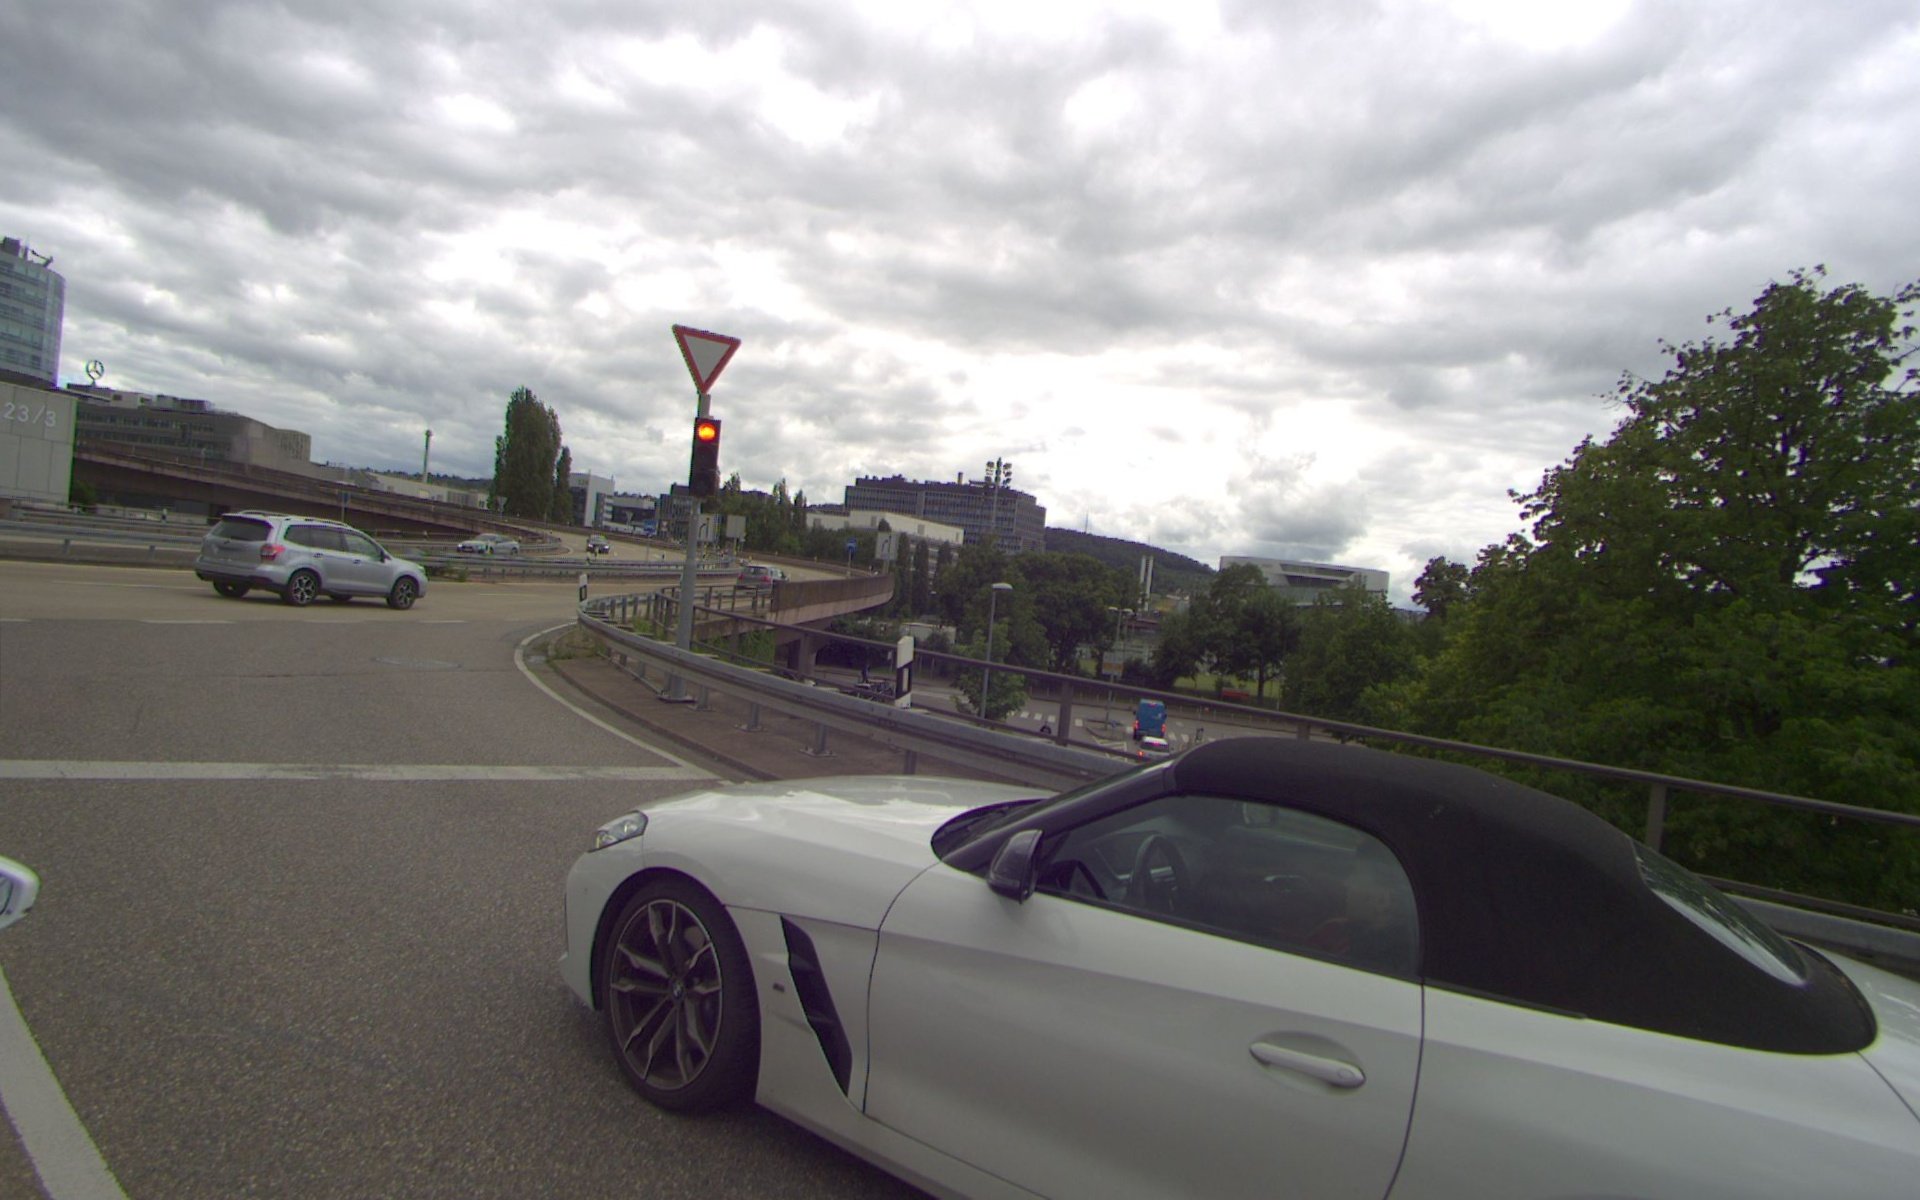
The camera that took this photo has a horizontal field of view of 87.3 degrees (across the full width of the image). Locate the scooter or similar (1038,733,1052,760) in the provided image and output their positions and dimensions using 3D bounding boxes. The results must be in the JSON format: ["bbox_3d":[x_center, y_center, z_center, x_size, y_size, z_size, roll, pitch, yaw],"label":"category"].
[{"bbox_3d":[4.446,7.653,52.492,0.481,1.199,1.073,8,1,10],"label":"scooter or similar"}]

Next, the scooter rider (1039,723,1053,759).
[{"bbox_3d":[4.488,7.363,52.468,0.481,1.761,0.514,8,2,10],"label":"scooter rider"}]

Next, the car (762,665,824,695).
[{"bbox_3d":[-11.463,5.491,69.132,3.792,1.371,1.826,8,1,1],"label":"car"}]

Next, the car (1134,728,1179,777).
[{"bbox_3d":[10.502,8.050,53.611,1.978,1.883,4.868,10,-2,12],"label":"car"}]

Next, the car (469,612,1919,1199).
[{"bbox_3d":[0.631,0.989,3.012,4.194,1.306,1.808,7,-2,34],"label":"car"}]

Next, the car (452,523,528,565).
[{"bbox_3d":[-28.940,-3.390,62.132,1.879,1.679,4.757,8,-4,7],"label":"car"}]

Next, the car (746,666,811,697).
[{"bbox_3d":[-11.967,5.388,66.350,3.792,1.371,1.826,8,1,1],"label":"car"}]

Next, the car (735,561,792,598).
[{"bbox_3d":[-9.184,-0.924,47.327,1.698,1.480,4.242,7,0,0],"label":"car"}]

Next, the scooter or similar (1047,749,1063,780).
[{"bbox_3d":[4.341,7.513,45.889,0.481,1.199,1.073,8,1,10],"label":"scooter or similar"}]

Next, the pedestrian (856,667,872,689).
[{"bbox_3d":[-7.328,5.928,76.752,0.898,1.514,0.750,8,-3,8],"label":"pedestrian"}]

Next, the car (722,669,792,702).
[{"bbox_3d":[-12.456,5.270,61.893,3.792,1.371,1.826,8,1,1],"label":"car"}]

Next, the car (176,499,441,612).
[{"bbox_3d":[-13.048,-0.789,20.566,1.697,1.758,4.558,7,0,12],"label":"car"}]

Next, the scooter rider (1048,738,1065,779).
[{"bbox_3d":[4.390,7.223,45.859,0.481,1.776,0.548,8,2,10],"label":"scooter rider"}]

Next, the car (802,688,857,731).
[{"bbox_3d":[-6.671,5.587,51.767,1.792,1.553,4.000,8,0,6],"label":"car"}]

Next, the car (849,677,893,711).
[{"bbox_3d":[-5.528,5.836,62.996,1.792,1.553,4.195,8,0,6],"label":"car"}]

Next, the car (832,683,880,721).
[{"bbox_3d":[-5.930,5.807,57.726,1.792,1.553,4.000,8,0,6],"label":"car"}]

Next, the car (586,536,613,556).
[{"bbox_3d":[-31.343,-4.678,87.581,1.889,1.438,3.977,10,0,-18],"label":"car"}]

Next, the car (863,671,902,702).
[{"bbox_3d":[-5.270,5.874,68.634,1.792,1.553,4.000,8,0,6],"label":"car"}]

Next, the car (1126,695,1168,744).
[{"bbox_3d":[12.532,7.985,67.712,1.978,2.617,5.398,10,-2,7],"label":"car"}]

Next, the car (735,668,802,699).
[{"bbox_3d":[-12.177,5.317,64.232,3.792,1.371,1.826,8,1,1],"label":"car"}]
